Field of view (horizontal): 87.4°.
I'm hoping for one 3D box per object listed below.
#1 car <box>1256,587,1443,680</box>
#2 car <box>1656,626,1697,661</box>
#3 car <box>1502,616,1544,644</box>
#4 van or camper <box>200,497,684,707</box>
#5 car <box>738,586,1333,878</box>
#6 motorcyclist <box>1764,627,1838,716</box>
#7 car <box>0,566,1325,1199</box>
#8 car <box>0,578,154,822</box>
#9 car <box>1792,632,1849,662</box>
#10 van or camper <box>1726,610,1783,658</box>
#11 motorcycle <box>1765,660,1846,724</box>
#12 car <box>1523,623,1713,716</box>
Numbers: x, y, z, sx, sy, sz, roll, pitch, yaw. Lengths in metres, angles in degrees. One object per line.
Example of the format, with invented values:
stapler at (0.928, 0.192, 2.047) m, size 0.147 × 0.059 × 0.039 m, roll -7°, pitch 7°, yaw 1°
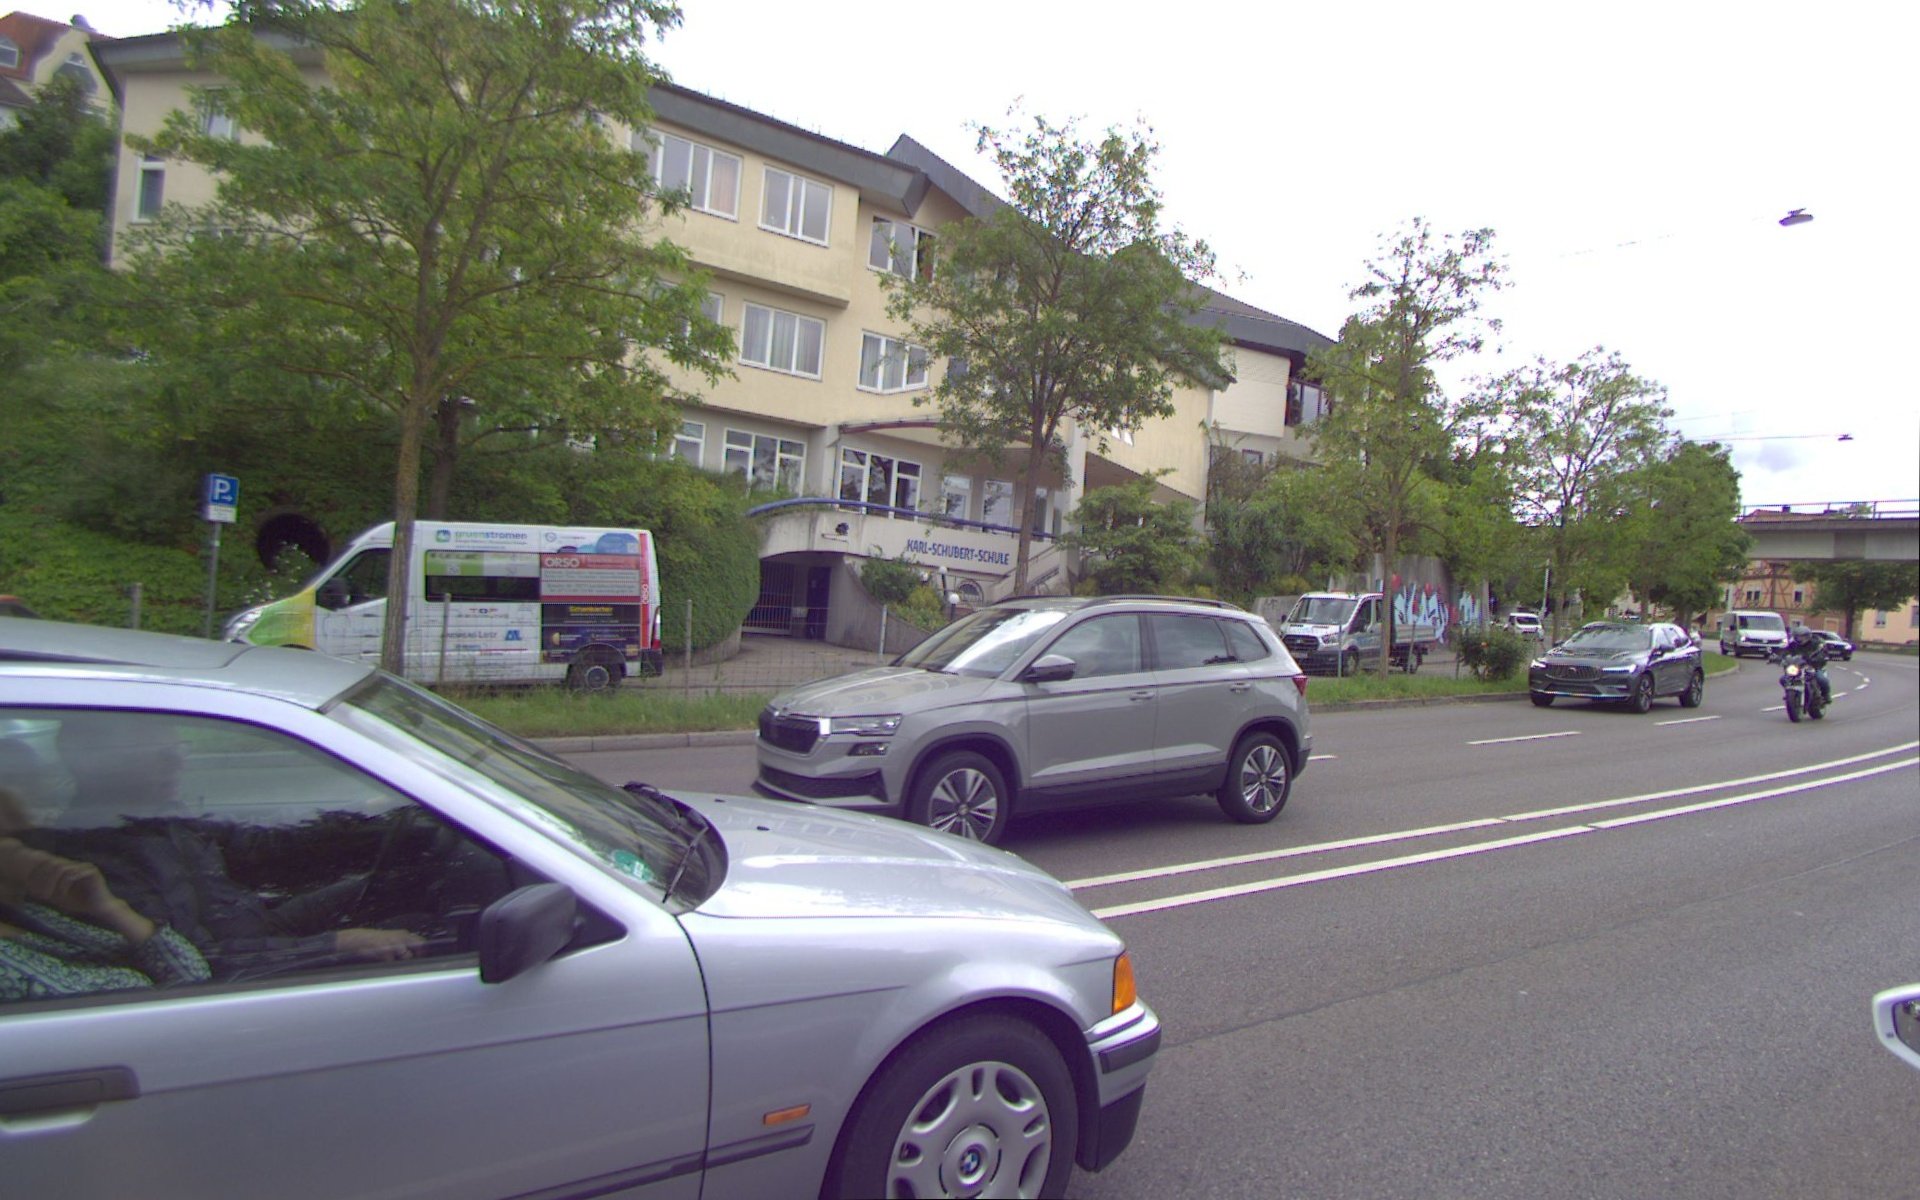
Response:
car at (10.924, 0.932, 27.842) m, size 6.281 × 2.303 × 2.247 m, roll 3°, pitch -1°, yaw -42°
car at (46.092, 2.771, 64.683) m, size 1.803 × 1.929 × 3.926 m, roll 5°, pitch 2°, yaw 33°
car at (38.994, 2.068, 69.684) m, size 1.737 × 1.809 × 4.465 m, roll 1°, pitch 0°, yaw 19°
van or camper at (-7.015, 0.126, 14.227) m, size 5.639 × 2.505 × 1.985 m, roll 2°, pitch -1°, yaw -28°
car at (0.656, 0.758, 7.244) m, size 4.033 × 1.559 × 1.774 m, roll 2°, pitch 0°, yaw -34°
motorcyclist at (14.713, 1.230, 17.580) m, size 0.951 × 1.504 × 0.755 m, roll 2°, pitch -3°, yaw -35°
car at (-1.475, 0.661, 2.084) m, size 4.566 × 1.401 × 1.626 m, roll 2°, pitch 0°, yaw -30°
car at (-7.380, 0.552, 5.962) m, size 3.849 × 1.450 × 1.556 m, roll 2°, pitch 1°, yaw -33°
car at (44.299, 2.411, 51.789) m, size 1.712 × 1.433 × 4.417 m, roll 1°, pitch -1°, yaw 34°
van or camper at (40.451, 1.716, 51.266) m, size 1.982 × 2.291 × 5.941 m, roll 1°, pitch -1°, yaw 36°
motorcycle at (14.799, 1.583, 17.553) m, size 2.245 × 1.070 × 0.480 m, roll 2°, pitch -3°, yaw -34°
car at (12.875, 1.295, 19.557) m, size 4.428 × 1.596 × 1.772 m, roll 2°, pitch -1°, yaw -38°
